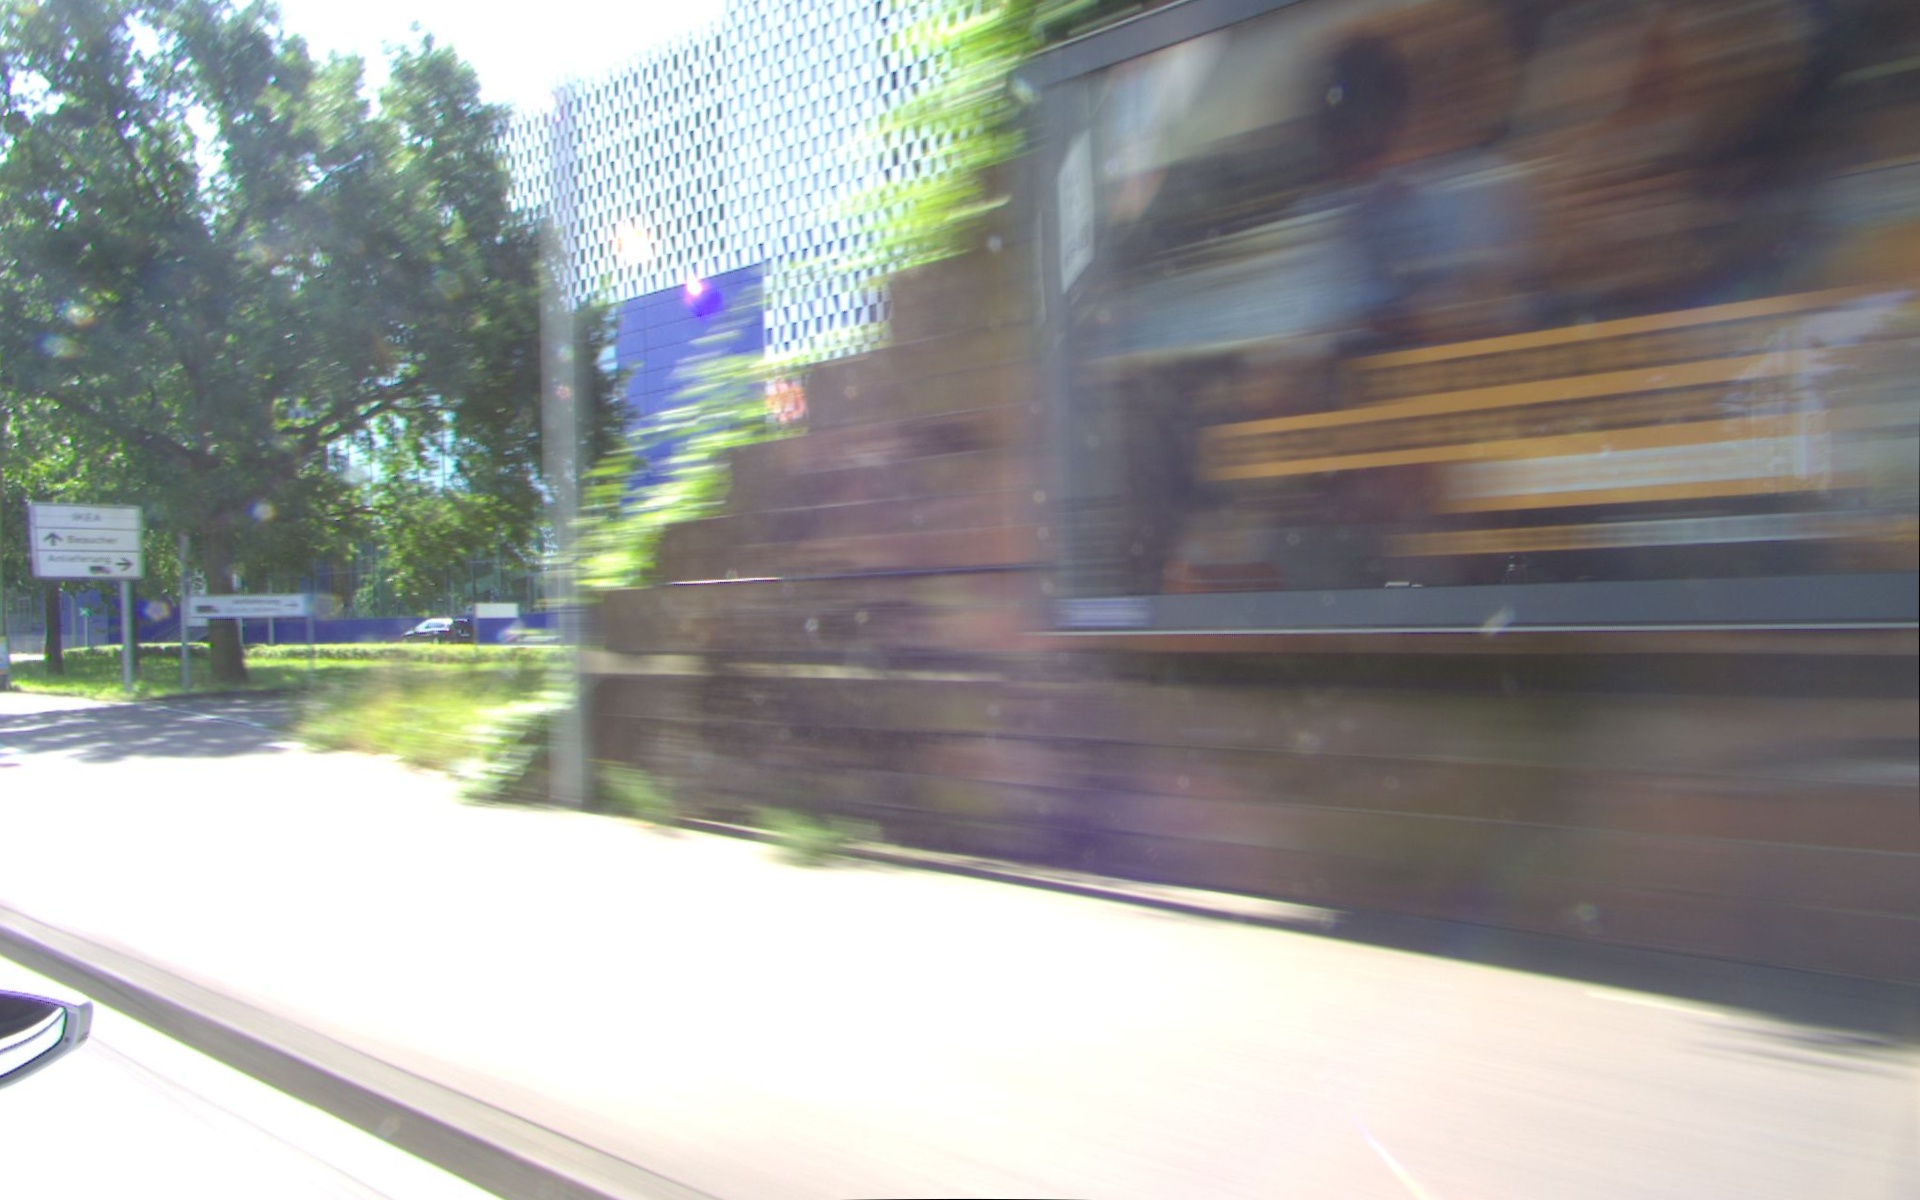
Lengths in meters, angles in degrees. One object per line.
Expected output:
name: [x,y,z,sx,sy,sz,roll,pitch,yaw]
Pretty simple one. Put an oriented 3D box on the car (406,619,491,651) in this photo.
car: [-25.597,1.745,50.071,4.314,1.540,1.901,-2,-1,34]
